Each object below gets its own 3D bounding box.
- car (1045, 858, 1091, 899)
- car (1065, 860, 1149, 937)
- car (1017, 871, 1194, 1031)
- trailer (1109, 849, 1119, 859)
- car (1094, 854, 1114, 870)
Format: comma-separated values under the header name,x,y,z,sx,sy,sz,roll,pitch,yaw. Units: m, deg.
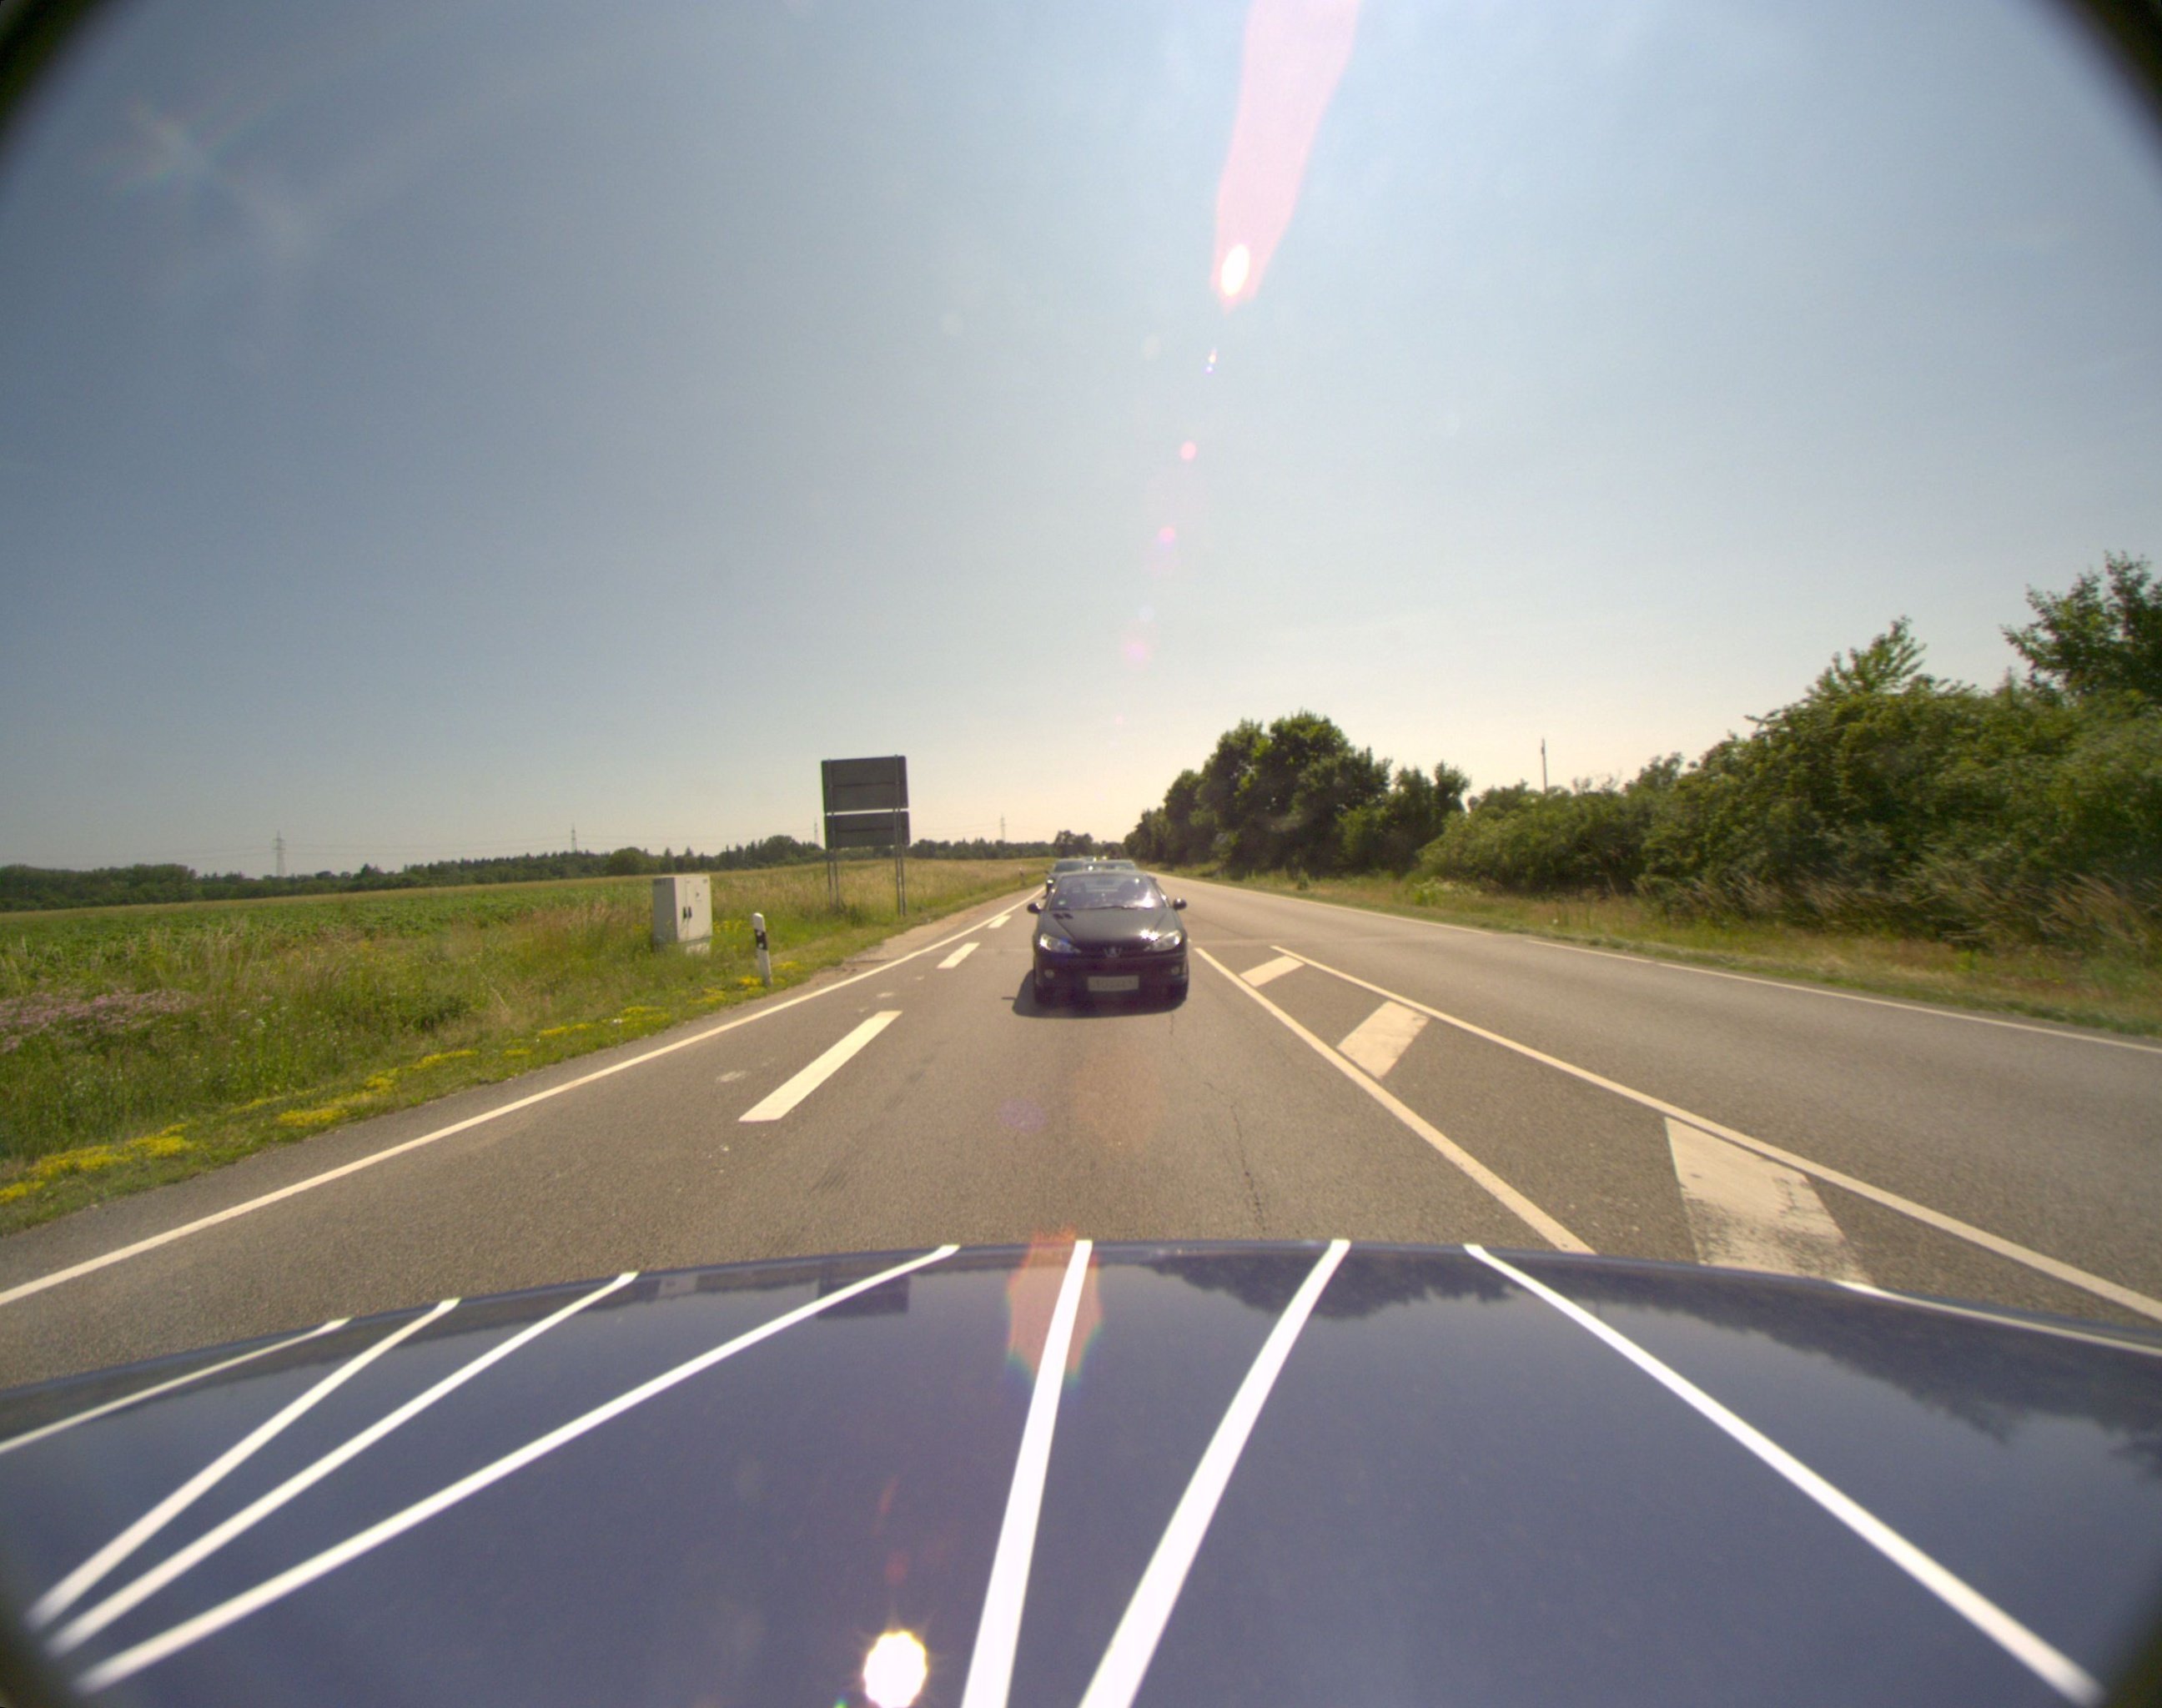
name,x,y,z,sx,sy,sz,roll,pitch,yaw
car,-0.502,0.949,30.737,1.665,1.449,4.172,-2,0,-1
car,0.588,0.925,17.342,1.665,1.477,3.732,-2,0,2
car,0.263,0.977,9.193,1.665,1.389,3.731,-2,0,1
trailer,11.370,-0.020,265.508,2.669,3.440,14.947,-1,0,-1
car,2.012,0.660,67.136,1.588,1.294,3.631,-2,0,1
